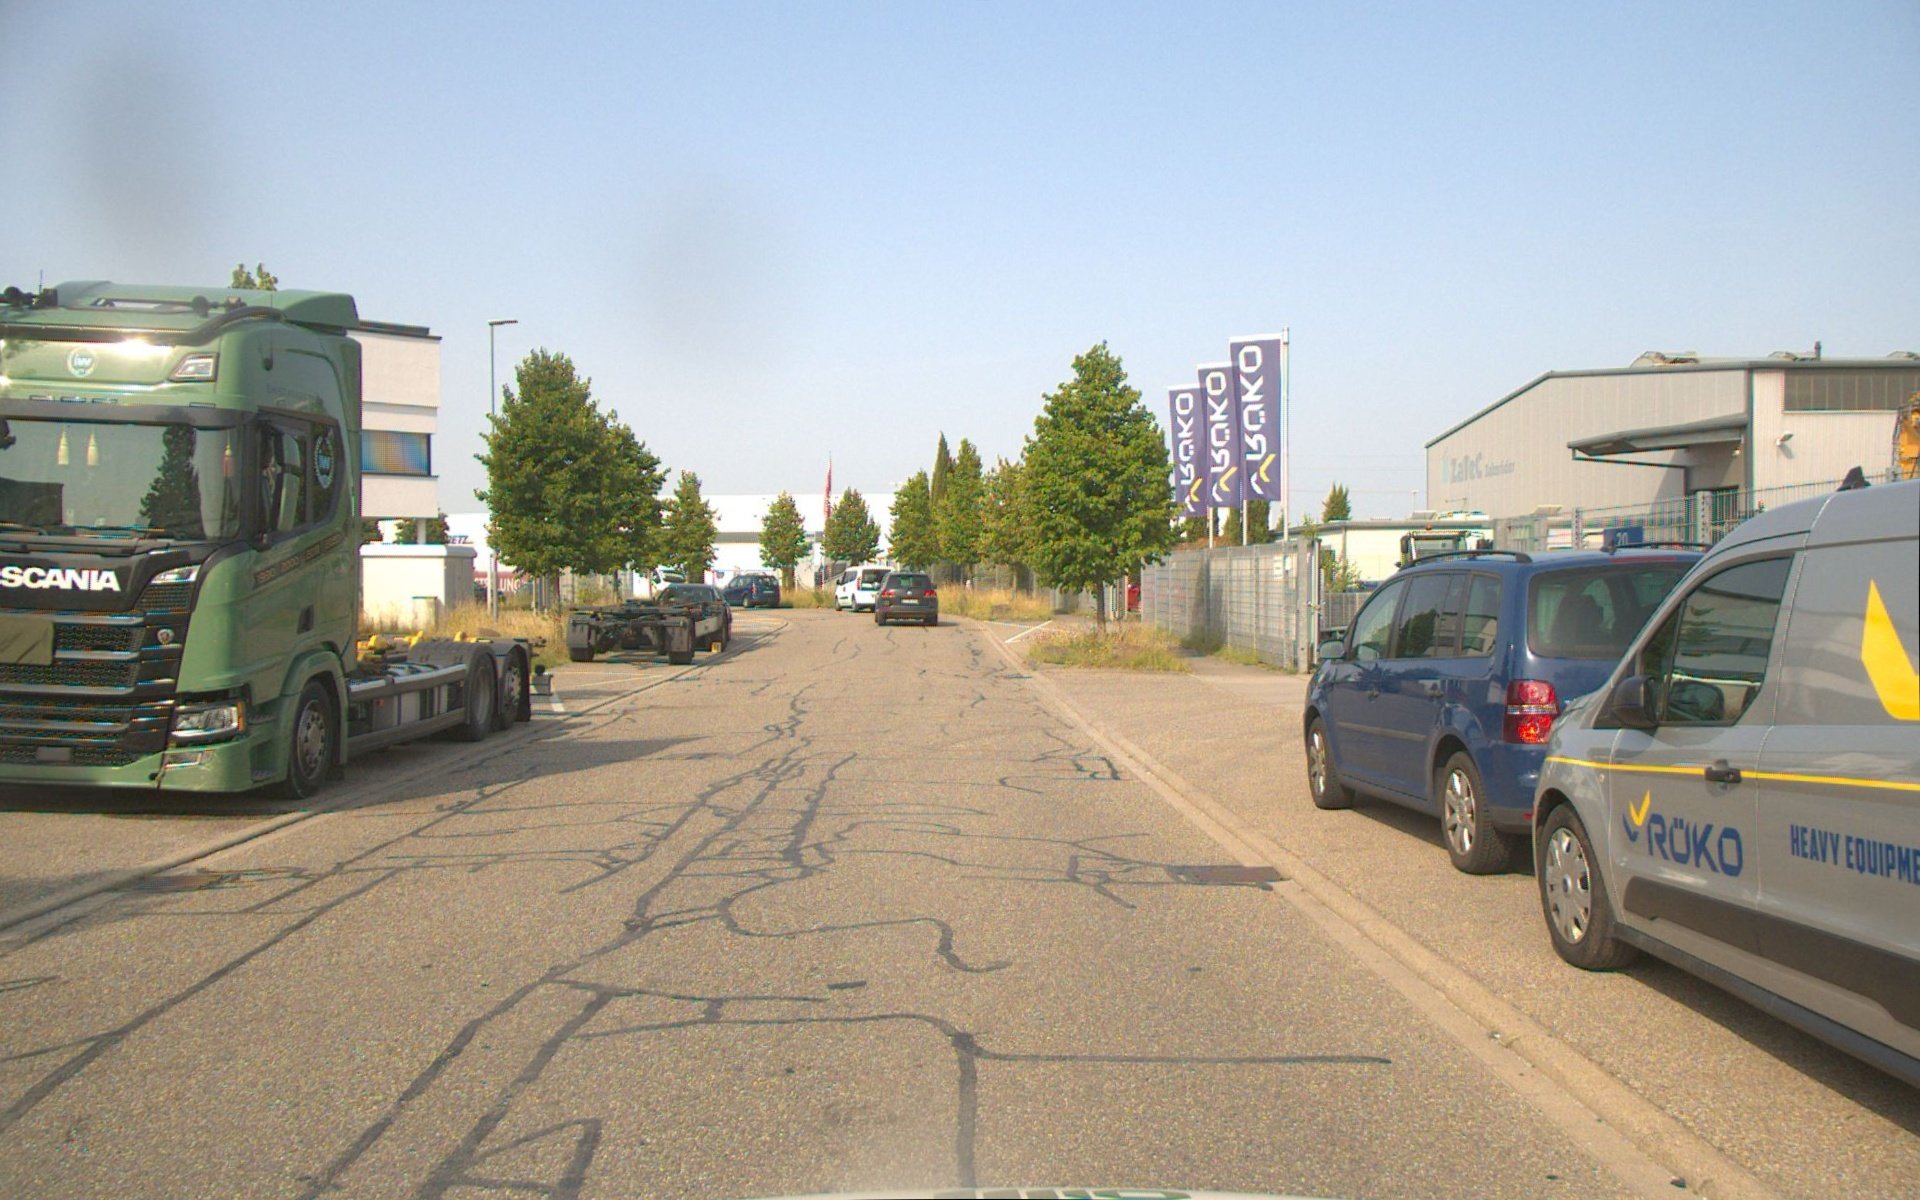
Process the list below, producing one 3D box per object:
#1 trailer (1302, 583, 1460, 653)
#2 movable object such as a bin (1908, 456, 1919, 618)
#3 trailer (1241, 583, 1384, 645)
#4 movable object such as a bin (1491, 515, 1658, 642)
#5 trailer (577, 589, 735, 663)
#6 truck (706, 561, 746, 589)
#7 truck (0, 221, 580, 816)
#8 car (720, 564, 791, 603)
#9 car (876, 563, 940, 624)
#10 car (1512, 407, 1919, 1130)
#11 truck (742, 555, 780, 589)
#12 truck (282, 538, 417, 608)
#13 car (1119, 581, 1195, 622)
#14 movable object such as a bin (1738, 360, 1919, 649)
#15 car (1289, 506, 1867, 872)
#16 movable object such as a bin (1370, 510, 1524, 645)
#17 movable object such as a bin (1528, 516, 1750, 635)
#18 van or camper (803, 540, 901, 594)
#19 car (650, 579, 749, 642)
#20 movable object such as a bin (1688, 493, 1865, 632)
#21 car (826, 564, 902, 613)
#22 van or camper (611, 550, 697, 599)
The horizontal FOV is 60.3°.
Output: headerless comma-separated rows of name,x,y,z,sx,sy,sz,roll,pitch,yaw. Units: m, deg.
trailer,8.420,0.308,33.454,1.905,1.265,4.292,-1,1,-3
movable object such as a bin,24.838,-1.518,38.134,2.629,3.941,5.717,-1,1,-1
trailer,8.027,0.288,38.147,2.083,1.265,4.793,-1,1,-3
movable object such as a bin,13.006,-0.464,35.338,1.951,2.501,4.765,-1,1,2
trailer,-6.397,0.481,35.681,2.086,1.254,7.158,1,1,0
truck,-19.949,-2.133,141.509,2.400,2.304,8.001,0,1,-1
truck,-6.018,-0.575,15.966,2.405,3.949,9.802,1,0,0
car,-10.210,-0.839,82.290,1.975,1.836,3.954,0,1,-33
car,-1.647,-0.237,52.960,1.953,1.836,3.999,1,1,-1
car,3.389,0.419,4.893,1.953,1.821,4.599,0,0,0
truck,-17.029,-2.401,141.800,2.400,2.875,8.001,0,1,-1
truck,-37.355,-1.588,100.767,12.700,3.997,2.616,0,0,45
car,7.160,0.019,60.615,1.844,1.381,4.769,-1,1,-5
movable object such as a bin,17.822,-1.695,30.288,3.250,4.890,7.669,-1,1,-3
car,3.412,0.417,10.099,1.789,1.750,4.247,0,0,-3
movable object such as a bin,10.830,-0.515,37.156,1.848,2.800,5.159,-1,1,-1
movable object such as a bin,15.527,-0.575,38.261,2.863,2.535,5.338,-1,1,-1
van or camper,-6.115,-1.793,92.339,2.327,2.897,7.260,-1,1,-32
car,-6.819,0.243,43.704,1.953,1.492,4.432,1,1,-1
movable object such as a bin,19.363,-0.885,39.465,1.952,3.084,4.491,-1,1,-1
car,-3.968,-0.500,67.538,1.964,1.932,4.443,-1,1,-19
van or camper,-19.328,-1.612,104.231,2.316,2.995,6.873,-1,1,-39
